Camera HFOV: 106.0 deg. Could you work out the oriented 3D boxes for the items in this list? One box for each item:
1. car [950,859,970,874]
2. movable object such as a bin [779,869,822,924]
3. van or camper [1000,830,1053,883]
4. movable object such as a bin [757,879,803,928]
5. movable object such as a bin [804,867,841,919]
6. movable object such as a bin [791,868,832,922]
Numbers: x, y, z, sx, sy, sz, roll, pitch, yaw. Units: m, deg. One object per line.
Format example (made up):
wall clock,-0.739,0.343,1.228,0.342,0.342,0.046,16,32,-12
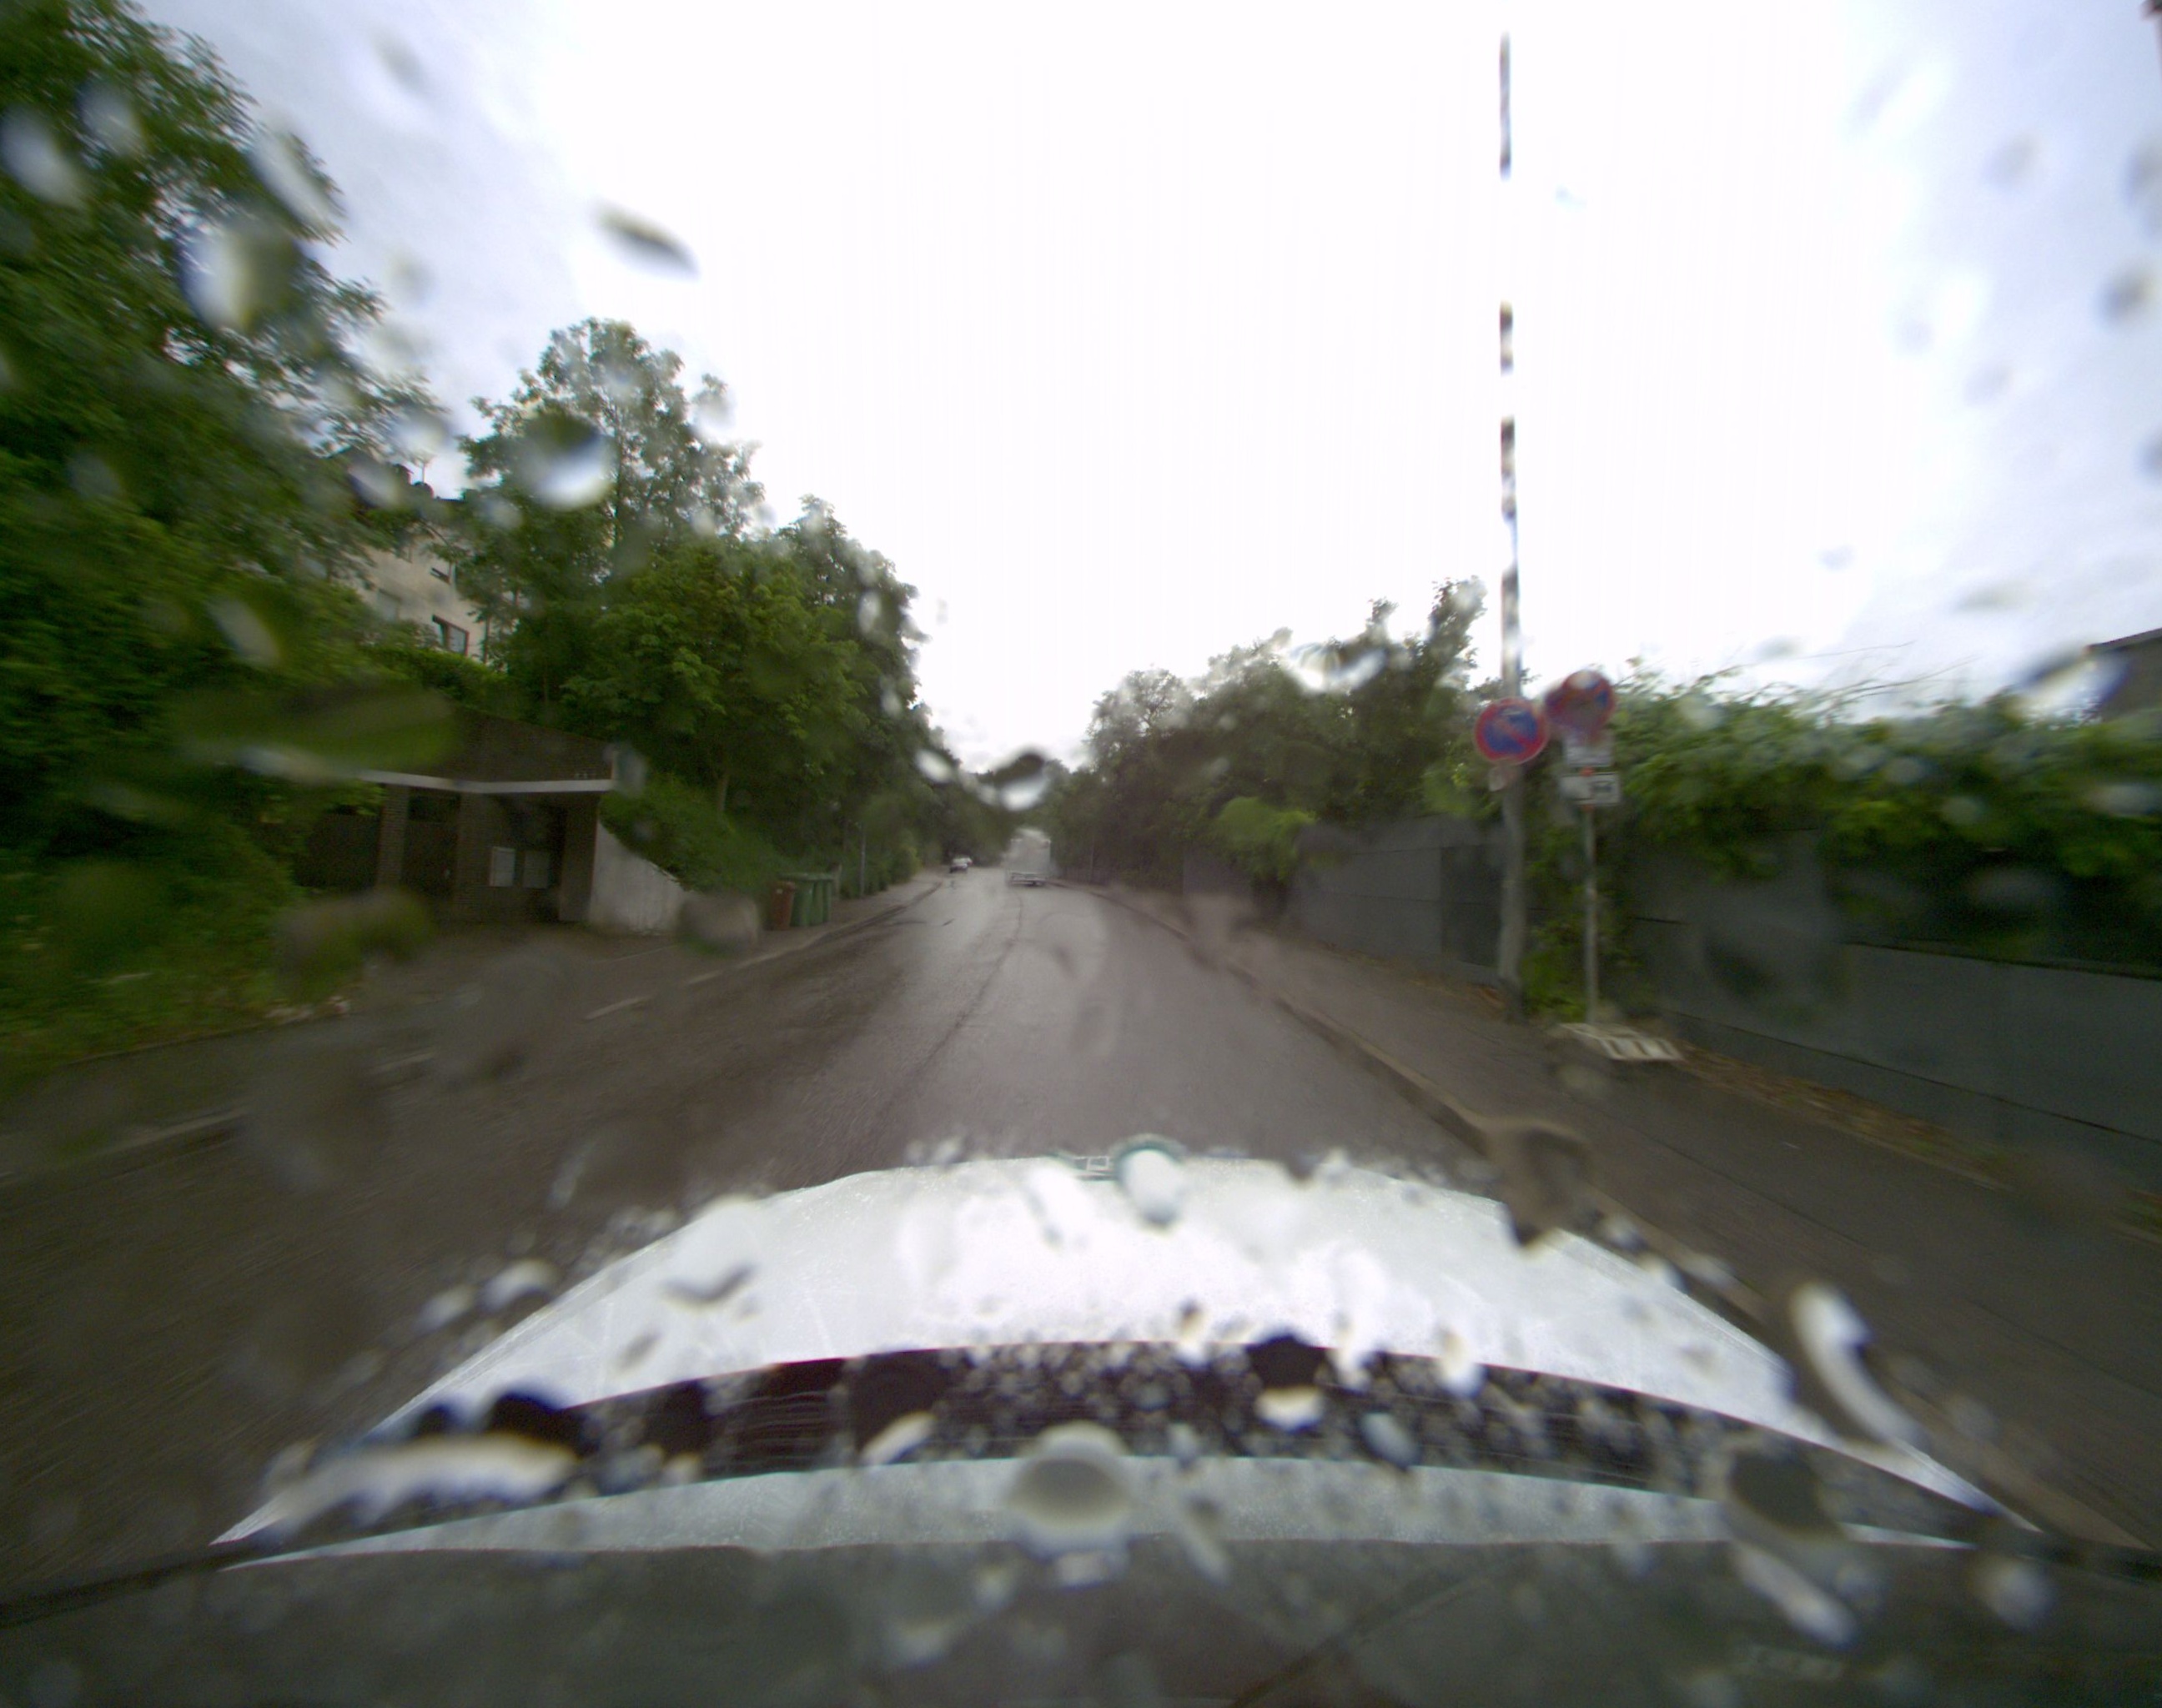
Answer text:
car,-11.793,1.194,79.294,1.647,1.385,3.523,1,-1,-5
movable object such as a bin,-5.688,0.861,16.547,0.646,1.081,0.673,0,-1,-2
van or camper,-3.272,0.215,47.964,2.540,2.925,5.928,-1,-1,-9
movable object such as a bin,-5.809,0.946,15.756,0.646,0.911,0.673,0,-1,-2
movable object such as a bin,-5.670,0.843,17.891,0.646,1.115,0.505,0,-1,-2
movable object such as a bin,-5.712,0.857,17.292,0.646,1.104,0.673,0,-1,-2
